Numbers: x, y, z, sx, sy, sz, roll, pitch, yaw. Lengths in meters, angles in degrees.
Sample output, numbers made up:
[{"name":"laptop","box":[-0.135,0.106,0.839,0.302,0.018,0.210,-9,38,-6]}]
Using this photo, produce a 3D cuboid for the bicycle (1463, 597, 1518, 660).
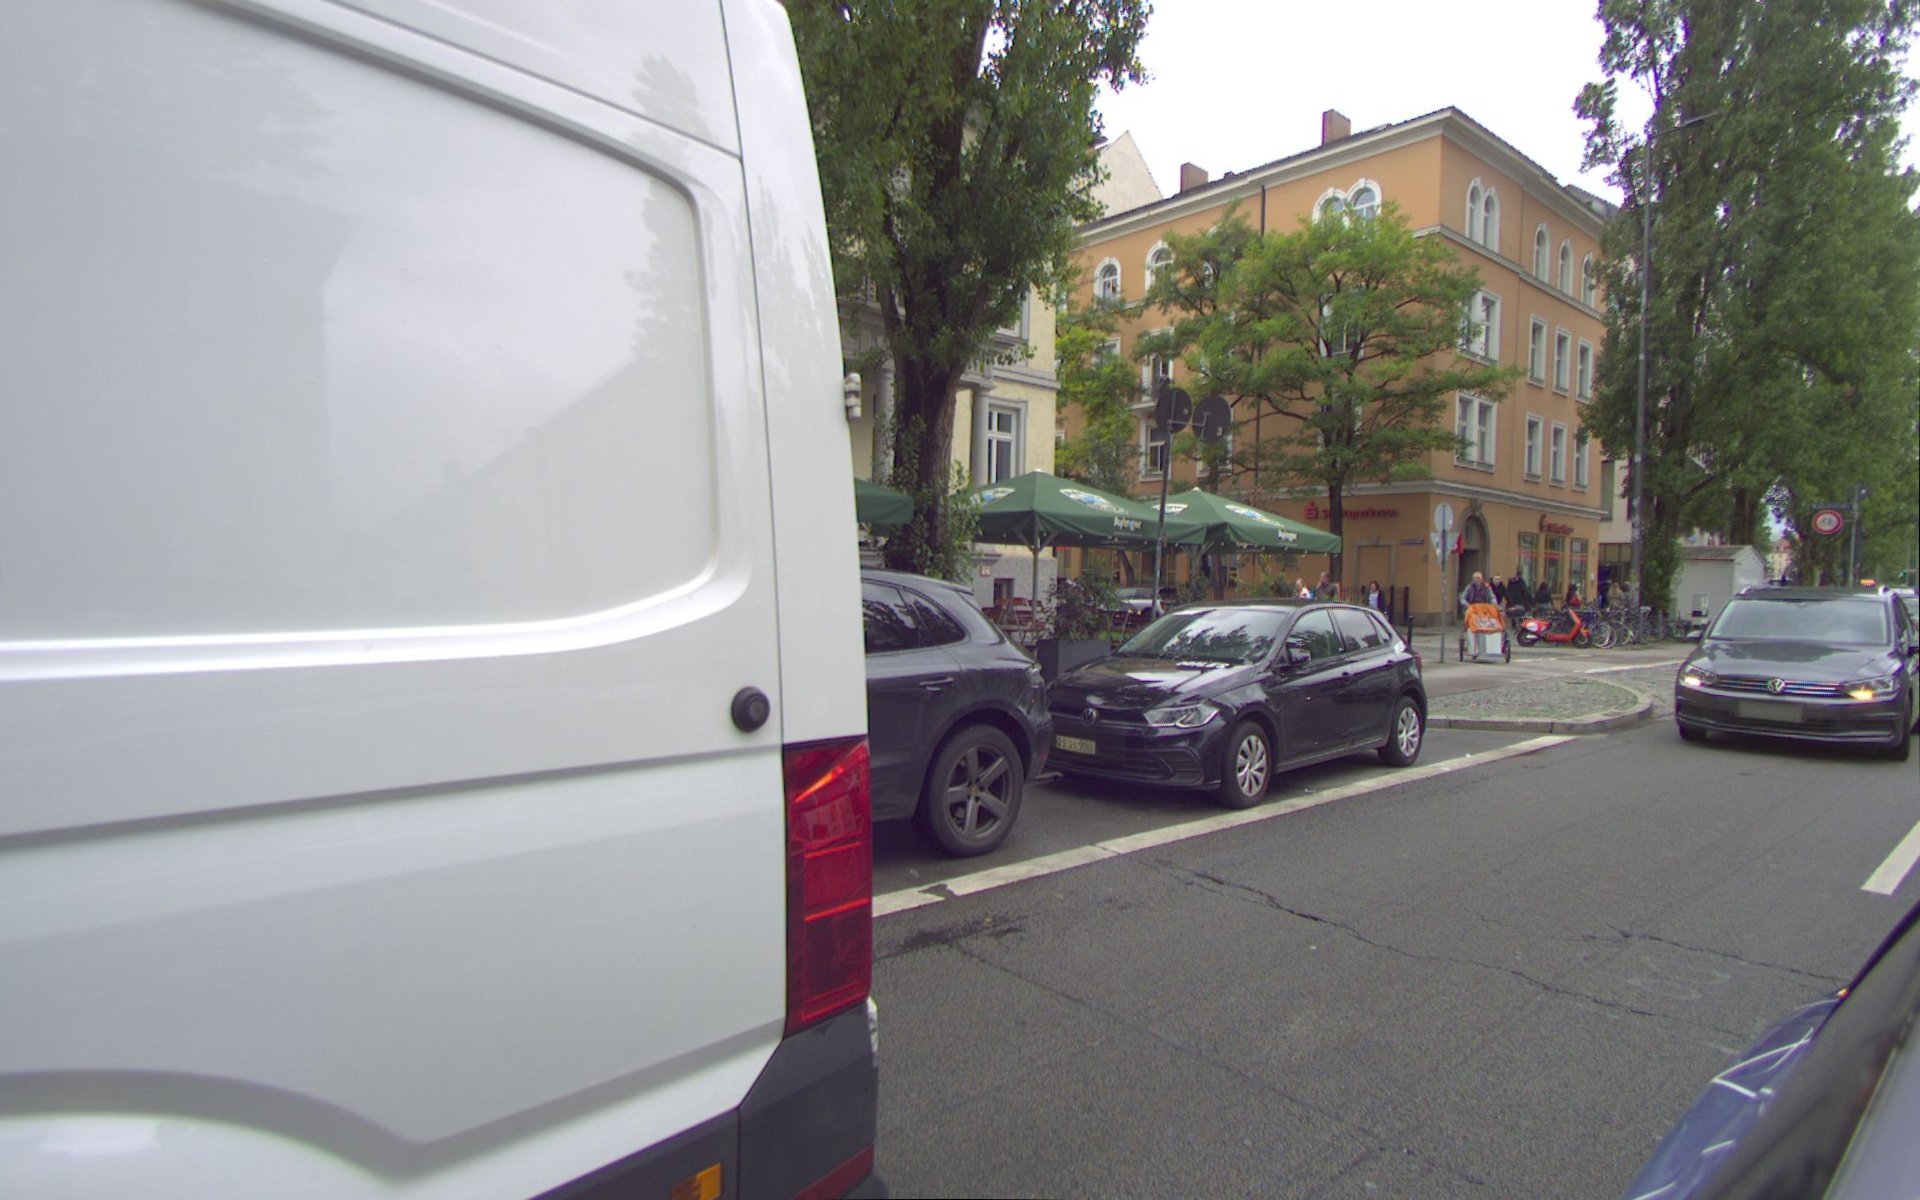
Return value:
[{"name":"bicycle","box":[10.543,0.534,20.185,0.878,1.134,2.083,2,1,26]}]

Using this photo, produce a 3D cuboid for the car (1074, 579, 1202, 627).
[{"name":"car","box":[5.976,0.087,34.334,1.873,1.539,3.993,-1,1,-41]}]

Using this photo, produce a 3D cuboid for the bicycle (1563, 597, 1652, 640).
[{"name":"bicycle","box":[17.670,0.479,27.660,0.551,1.089,1.945,0,1,-39]}]

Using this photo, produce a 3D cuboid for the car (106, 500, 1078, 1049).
[{"name":"car","box":[-1.510,0.507,5.214,4.371,1.658,1.805,0,1,-42]}]

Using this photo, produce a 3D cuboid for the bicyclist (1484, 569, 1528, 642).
[{"name":"bicyclist","box":[12.992,0.119,24.067,0.738,1.708,0.737,2,1,42]}]

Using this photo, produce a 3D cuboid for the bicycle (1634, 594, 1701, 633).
[{"name":"bicycle","box":[21.292,0.400,30.468,1.593,1.098,0.319,2,1,28]}]

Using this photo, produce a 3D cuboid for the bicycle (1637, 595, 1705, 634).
[{"name":"bicycle","box":[21.152,0.420,30.133,1.588,1.098,0.339,2,1,28]}]

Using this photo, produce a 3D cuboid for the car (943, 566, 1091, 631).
[{"name":"car","box":[1.562,-0.066,29.249,1.934,1.723,4.429,-1,0,-36]}]

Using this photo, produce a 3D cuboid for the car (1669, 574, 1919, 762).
[{"name":"car","box":[9.209,0.572,10.733,4.120,1.611,1.880,0,1,-42]}]

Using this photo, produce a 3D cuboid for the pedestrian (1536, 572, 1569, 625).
[{"name":"pedestrian","box":[19.031,-0.065,32.517,0.758,1.682,0.744,0,0,-44]}]

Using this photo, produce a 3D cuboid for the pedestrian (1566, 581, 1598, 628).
[{"name":"pedestrian","box":[20.977,0.142,34.148,0.603,1.590,0.746,0,0,-38]}]

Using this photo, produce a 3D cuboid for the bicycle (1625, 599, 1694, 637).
[{"name":"bicycle","box":[20.087,0.506,29.080,1.597,1.022,0.337,2,1,43]}]

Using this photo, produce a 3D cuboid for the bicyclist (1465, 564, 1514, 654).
[{"name":"bicyclist","box":[10.727,0.162,20.527,0.823,1.779,0.661,1,1,27]}]

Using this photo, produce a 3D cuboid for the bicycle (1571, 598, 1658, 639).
[{"name":"bicycle","box":[18.120,0.492,28.046,0.551,1.022,1.945,0,1,-39]}]

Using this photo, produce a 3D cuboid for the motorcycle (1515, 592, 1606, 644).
[{"name":"motorcycle","box":[15.322,0.439,25.871,1.939,1.236,0.510,2,1,25]}]

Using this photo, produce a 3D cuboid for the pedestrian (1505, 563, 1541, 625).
[{"name":"pedestrian","box":[18.364,-0.199,33.020,0.788,1.973,0.838,0,0,-43]}]

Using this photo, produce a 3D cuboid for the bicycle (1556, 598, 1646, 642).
[{"name":"bicycle","box":[17.163,0.514,27.128,0.551,1.102,1.945,0,1,-39]}]

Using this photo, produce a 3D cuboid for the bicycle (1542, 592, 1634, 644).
[{"name":"bicycle","box":[16.253,0.434,26.237,0.551,1.255,1.945,0,1,-39]}]

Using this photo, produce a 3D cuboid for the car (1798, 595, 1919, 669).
[{"name":"car","box":[19.960,0.631,21.291,3.919,1.451,1.621,0,0,-15]}]

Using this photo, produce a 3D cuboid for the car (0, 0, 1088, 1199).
[{"name":"car","box":[-2.987,0.180,0.156,6.611,2.524,2.067,0,1,-41]}]

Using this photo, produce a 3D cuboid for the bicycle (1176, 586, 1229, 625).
[{"name":"bicycle","box":[8.804,0.184,36.790,0.551,1.389,1.945,1,0,-39]}]

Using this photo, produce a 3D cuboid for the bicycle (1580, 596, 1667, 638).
[{"name":"bicycle","box":[18.676,0.460,28.529,0.551,1.098,1.945,0,1,-39]}]

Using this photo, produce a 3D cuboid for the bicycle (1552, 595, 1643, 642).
[{"name":"bicycle","box":[16.749,0.466,26.629,0.551,1.151,1.945,0,1,-39]}]

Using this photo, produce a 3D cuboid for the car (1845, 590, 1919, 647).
[{"name":"car","box":[27.880,0.498,30.133,4.421,1.572,1.787,0,1,-42]}]

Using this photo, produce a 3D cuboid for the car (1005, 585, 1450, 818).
[{"name":"car","box":[2.342,0.625,8.289,3.884,1.434,1.696,0,1,-43]}]

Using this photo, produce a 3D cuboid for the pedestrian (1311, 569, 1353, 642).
[{"name":"pedestrian","box":[9.250,0.136,25.171,0.718,1.788,0.699,0,0,-38]}]

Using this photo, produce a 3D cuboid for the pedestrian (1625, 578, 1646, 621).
[{"name":"pedestrian","box":[26.980,-0.029,40.407,0.617,1.715,0.566,0,0,41]}]

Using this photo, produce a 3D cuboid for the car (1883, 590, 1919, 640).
[{"name":"car","box":[33.192,0.503,34.735,4.421,1.634,1.787,0,1,-42]}]

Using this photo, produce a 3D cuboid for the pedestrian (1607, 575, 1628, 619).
[{"name":"pedestrian","box":[26.022,-0.129,40.052,0.632,1.715,0.566,0,0,42]}]

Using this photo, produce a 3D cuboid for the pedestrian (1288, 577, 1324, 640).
[{"name":"pedestrian","box":[8.964,0.211,26.231,0.564,1.590,0.699,0,0,-38]}]

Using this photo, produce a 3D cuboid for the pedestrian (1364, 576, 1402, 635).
[{"name":"pedestrian","box":[11.699,0.148,28.020,0.651,1.590,0.746,0,0,-38]}]

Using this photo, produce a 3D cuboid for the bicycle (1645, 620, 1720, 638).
[{"name":"bicycle","box":[20.904,0.841,29.284,1.671,0.378,0.818,4,3,42]}]

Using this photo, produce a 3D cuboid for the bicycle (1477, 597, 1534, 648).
[{"name":"bicycle","box":[12.997,0.509,24.096,0.735,1.134,2.071,2,1,41]}]

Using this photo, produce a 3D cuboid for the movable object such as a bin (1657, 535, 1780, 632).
[{"name":"movable object such as a bin","box":[26.815,-0.589,35.738,4.463,3.175,2.445,0,3,-41]}]
